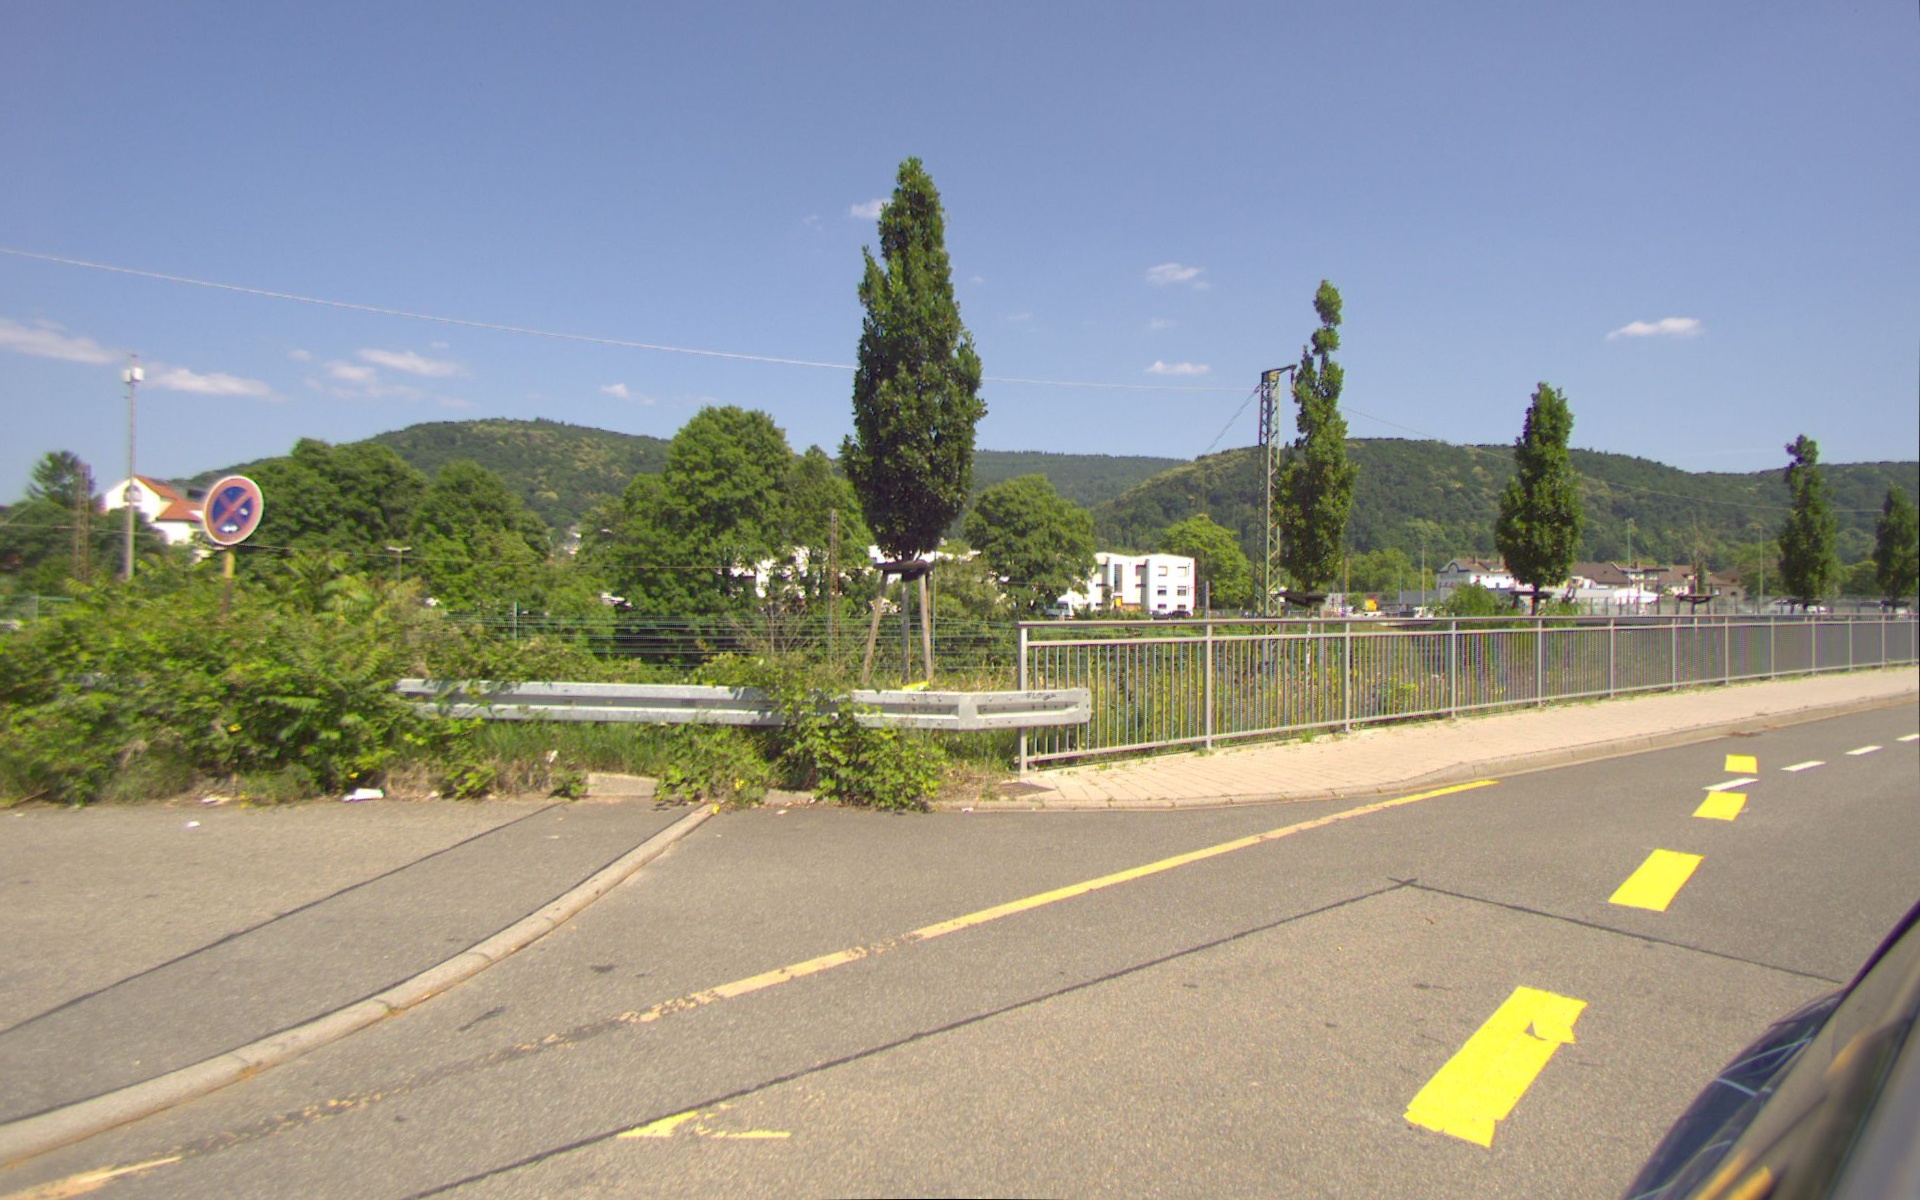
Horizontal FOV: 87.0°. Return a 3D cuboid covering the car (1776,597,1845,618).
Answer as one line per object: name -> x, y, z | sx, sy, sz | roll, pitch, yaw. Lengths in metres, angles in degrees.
car -> 73.673, 0.643, 87.725 | 1.700, 1.647, 4.450 | 2, -1, -12

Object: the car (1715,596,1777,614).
car -> 72.441, 0.492, 93.340 | 1.700, 1.647, 4.450 | 1, -1, -14

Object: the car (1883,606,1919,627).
car -> 75.320, 1.309, 79.321 | 1.702, 1.647, 4.446 | 2, -1, -5

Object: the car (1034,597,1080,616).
car -> 11.204, 0.759, 116.725 | 4.888, 2.139, 2.003 | 1, -1, -27
